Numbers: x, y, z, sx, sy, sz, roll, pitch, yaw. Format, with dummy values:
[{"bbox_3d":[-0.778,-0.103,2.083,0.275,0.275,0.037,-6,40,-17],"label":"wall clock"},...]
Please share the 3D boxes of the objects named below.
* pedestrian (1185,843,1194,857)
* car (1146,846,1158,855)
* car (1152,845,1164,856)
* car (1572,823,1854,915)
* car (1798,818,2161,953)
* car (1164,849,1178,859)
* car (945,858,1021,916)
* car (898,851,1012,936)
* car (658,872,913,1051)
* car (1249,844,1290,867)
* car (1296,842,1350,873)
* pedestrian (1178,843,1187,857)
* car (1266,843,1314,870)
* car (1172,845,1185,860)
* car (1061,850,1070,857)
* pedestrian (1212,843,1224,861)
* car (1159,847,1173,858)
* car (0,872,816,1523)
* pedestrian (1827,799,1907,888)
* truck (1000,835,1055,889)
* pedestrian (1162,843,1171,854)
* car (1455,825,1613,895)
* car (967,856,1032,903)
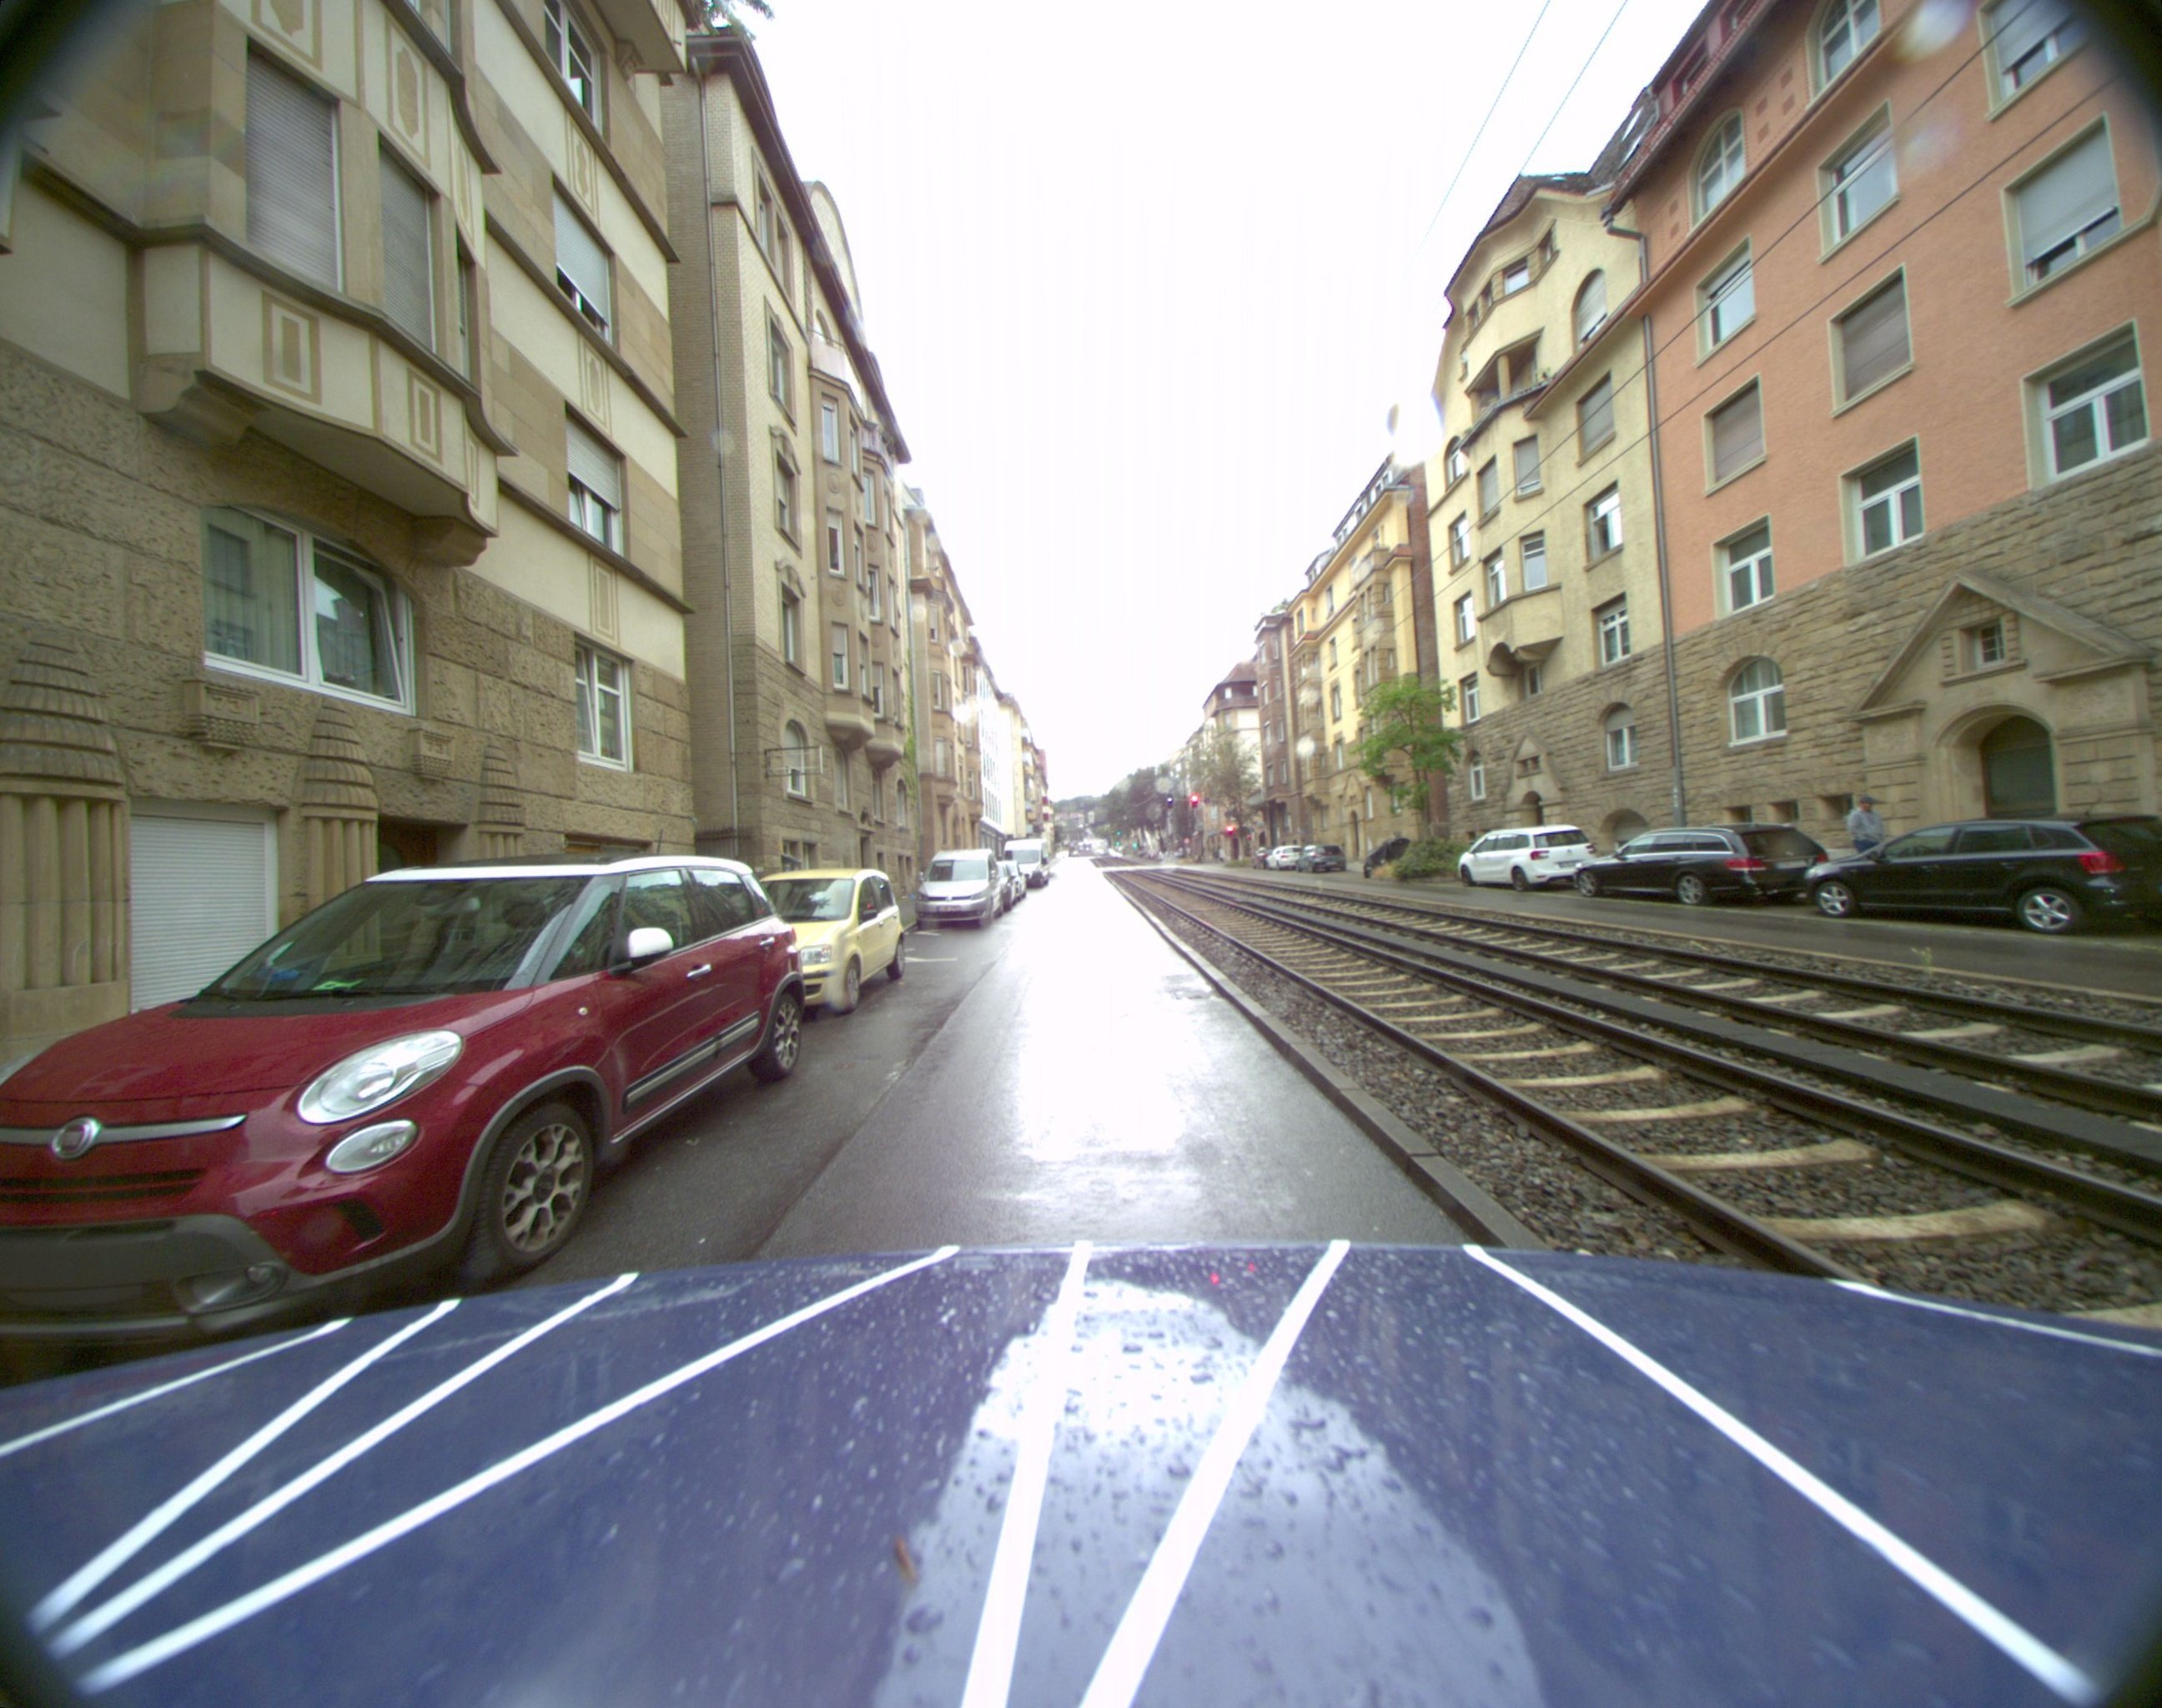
[{"bbox_3d":[15.813,-0.584,110.365,1.056,1.946,1.163,-3,1,2],"label":"pedestrian"},{"bbox_3d":[12.451,-0.591,133.622,1.632,1.537,3.801,-3,0,1],"label":"car"},{"bbox_3d":[12.854,-0.594,126.753,1.657,1.589,3.775,-3,0,1],"label":"car"},{"bbox_3d":[12.299,0.254,15.301,1.847,1.486,4.601,-3,0,1],"label":"car"},{"bbox_3d":[12.537,0.320,10.384,1.935,1.488,3.642,-2,1,-2],"label":"car"},{"bbox_3d":[12.588,-0.056,106.301,1.583,1.303,3.845,-3,0,1],"label":"car"},{"bbox_3d":[-2.955,0.955,23.734,1.999,1.521,3.999,-3,0,-3],"label":"car"},{"bbox_3d":[-3.001,0.863,19.117,1.968,1.792,4.459,-3,0,1],"label":"car"},{"bbox_3d":[-3.181,1.052,8.959,1.580,1.520,3.578,-3,0,-1],"label":"car"},{"bbox_3d":[12.493,0.085,50.665,1.771,1.433,3.845,-3,0,1],"label":"car"},{"bbox_3d":[12.514,0.145,39.532,1.678,1.433,3.845,-4,1,3],"label":"car"},{"bbox_3d":[14.752,-0.548,110.368,1.056,1.946,1.163,-3,1,2],"label":"pedestrian"},{"bbox_3d":[12.482,0.136,45.571,1.771,1.433,4.031,-3,0,2],"label":"car"},{"bbox_3d":[12.686,-0.204,99.463,1.583,1.669,3.790,-3,2,7],"label":"car"},{"bbox_3d":[-3.950,-0.139,194.596,1.998,1.838,4.000,-3,0,1],"label":"car"},{"bbox_3d":[15.323,-0.268,84.936,1.056,1.946,1.163,-3,1,2],"label":"pedestrian"},{"bbox_3d":[12.885,-0.241,115.283,1.771,1.507,3.845,-3,0,1],"label":"car"},{"bbox_3d":[-3.025,0.987,4.010,1.807,1.590,3.999,-3,0,-1],"label":"car"},{"bbox_3d":[14.976,-0.201,14.494,0.701,1.633,0.765,-2,1,1],"label":"pedestrian"},{"bbox_3d":[-2.713,0.364,39.864,2.235,2.521,6.143,-3,0,1],"label":"truck"},{"bbox_3d":[15.413,-0.965,137.599,1.380,1.946,1.379,-3,1,2],"label":"pedestrian"},{"bbox_3d":[12.281,0.144,20.964,1.867,1.646,4.146,-3,0,1],"label":"car"},{"bbox_3d":[-2.943,0.899,28.235,1.891,1.521,3.929,-3,0,1],"label":"car"}]
